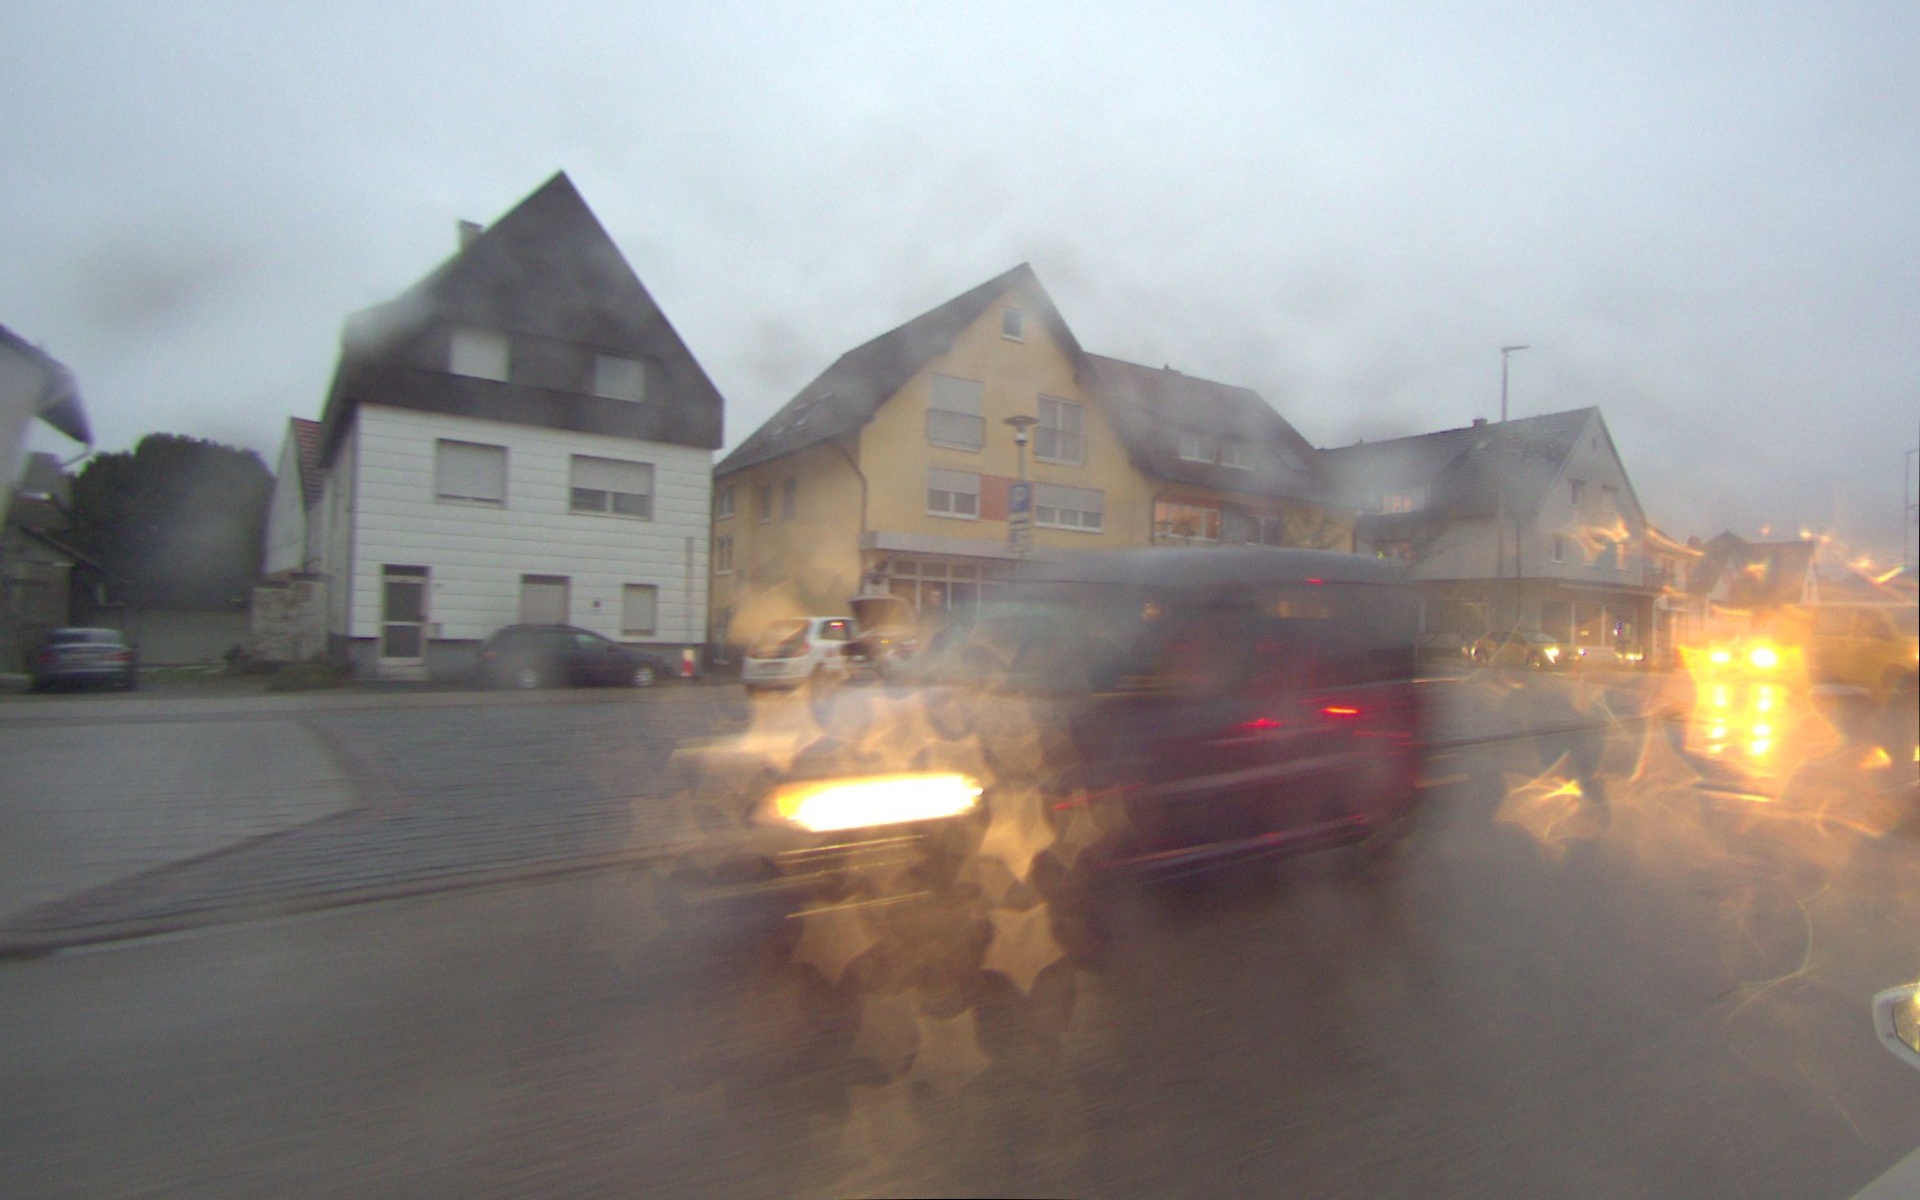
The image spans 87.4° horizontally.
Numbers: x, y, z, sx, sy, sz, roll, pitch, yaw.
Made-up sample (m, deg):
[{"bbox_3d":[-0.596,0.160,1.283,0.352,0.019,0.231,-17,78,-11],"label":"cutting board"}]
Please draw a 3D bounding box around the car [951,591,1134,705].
[{"bbox_3d":[1.479,0.731,16.237,1.876,1.551,4.181,1,-1,20],"label":"car"}]

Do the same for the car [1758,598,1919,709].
[{"bbox_3d":[18.936,1.043,20.479,1.959,2.040,4.903,1,-1,9],"label":"car"}]

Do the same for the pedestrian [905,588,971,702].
[{"bbox_3d":[-0.354,0.700,15.814,0.830,1.734,0.720,0,-2,-25],"label":"pedestrian"}]

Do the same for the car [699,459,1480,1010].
[{"bbox_3d":[0.916,0.515,5.302,4.099,1.837,1.706,2,-2,-38],"label":"car"}]

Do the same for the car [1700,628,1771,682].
[{"bbox_3d":[22.182,1.542,28.814,1.484,1.430,3.355,1,-1,36],"label":"car"}]

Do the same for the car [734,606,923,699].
[{"bbox_3d":[-2.501,1.017,20.038,1.733,1.652,3.995,-2,-3,28],"label":"car"}]

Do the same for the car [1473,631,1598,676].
[{"bbox_3d":[20.749,1.912,36.391,1.688,1.440,3.828,3,-2,-16],"label":"car"}]

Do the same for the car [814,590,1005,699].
[{"bbox_3d":[-0.757,0.775,17.695,1.805,1.692,3.895,-2,-2,24],"label":"car"}]

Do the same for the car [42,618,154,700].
[{"bbox_3d":[-19.699,1.390,23.094,1.703,1.704,3.957,4,-5,-38],"label":"car"}]

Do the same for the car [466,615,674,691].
[{"bbox_3d":[-9.315,1.211,24.069,4.375,1.520,1.900,1,3,-32],"label":"car"}]
